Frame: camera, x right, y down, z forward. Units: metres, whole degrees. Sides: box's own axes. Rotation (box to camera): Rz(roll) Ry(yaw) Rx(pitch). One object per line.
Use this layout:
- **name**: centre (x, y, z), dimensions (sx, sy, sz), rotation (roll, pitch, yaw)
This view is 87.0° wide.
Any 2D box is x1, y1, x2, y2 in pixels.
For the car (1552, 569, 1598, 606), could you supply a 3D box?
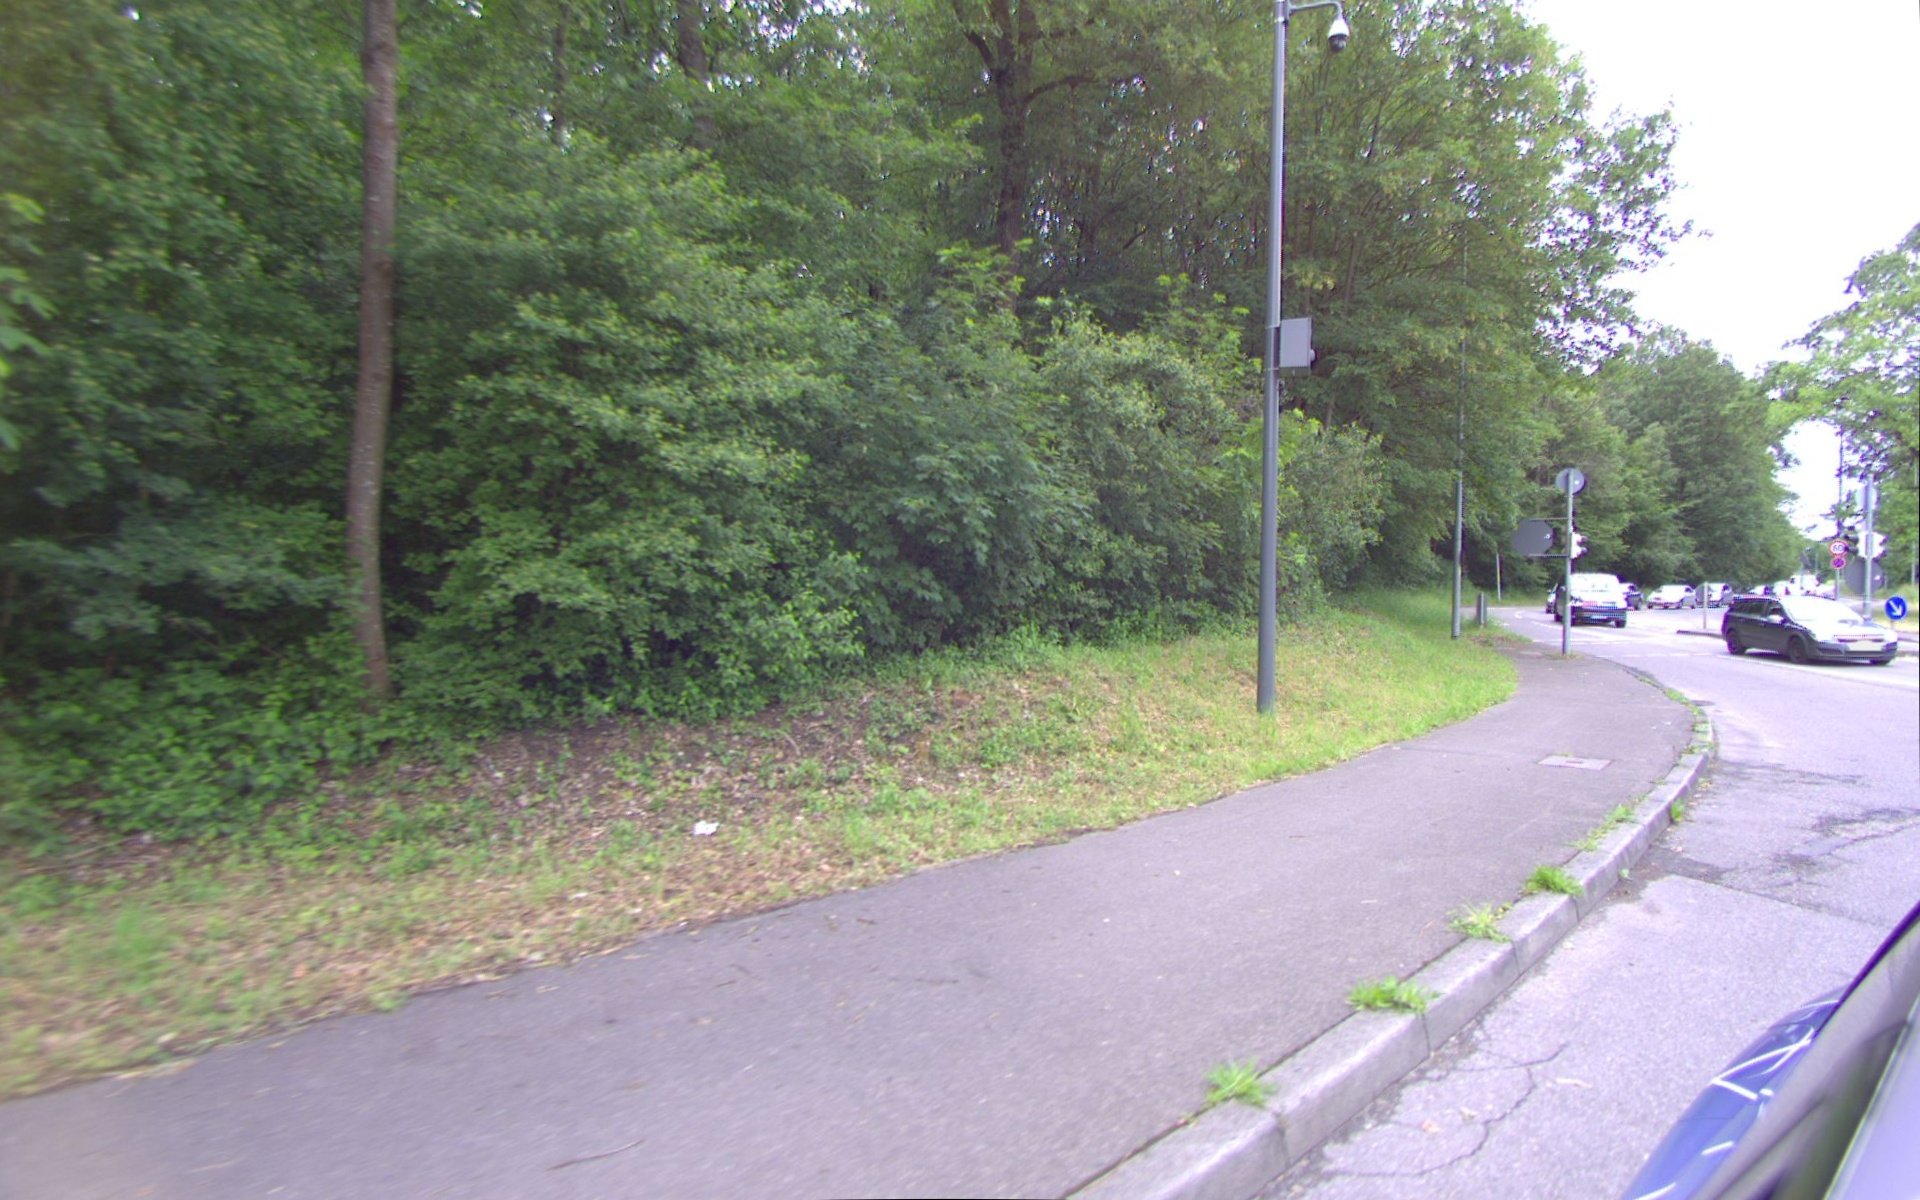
- **car**: centre (29.851, -0.606, 49.175), dimensions (1.780, 1.694, 3.947), rotation (2, 2, 31)

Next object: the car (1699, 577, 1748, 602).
- **car**: centre (49.395, -0.698, 65.451), dimensions (3.807, 1.518, 1.777), rotation (0, 3, -42)

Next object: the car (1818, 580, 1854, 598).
- **car**: centre (78.127, -0.954, 90.268), dimensions (3.803, 1.518, 1.778), rotation (0, 3, -39)

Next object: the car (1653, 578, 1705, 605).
- **car**: centre (43.328, -0.530, 60.976), dimensions (3.807, 1.518, 1.777), rotation (0, 3, -42)

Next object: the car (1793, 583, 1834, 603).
- **car**: centre (66.846, -0.558, 79.238), dimensions (3.803, 1.518, 1.778), rotation (0, 3, -39)

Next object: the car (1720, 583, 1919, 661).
- **car**: centre (19.653, 0.411, 23.284), dimensions (1.778, 1.497, 4.452), rotation (2, 2, 14)

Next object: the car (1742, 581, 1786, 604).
- **car**: centre (56.056, -0.547, 70.581), dimensions (3.807, 1.518, 1.777), rotation (0, 3, -42)

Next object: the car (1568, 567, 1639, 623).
- **car**: centre (24.061, -0.235, 37.971), dimensions (1.975, 1.895, 4.484), rotation (3, 2, 30)

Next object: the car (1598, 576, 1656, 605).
- **car**: centre (37.222, -0.536, 56.453), dimensions (3.807, 1.518, 1.777), rotation (0, 3, -42)

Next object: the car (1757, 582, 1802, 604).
- **car**: centre (60.528, -0.520, 74.747), dimensions (3.803, 1.518, 1.778), rotation (0, 3, -39)
